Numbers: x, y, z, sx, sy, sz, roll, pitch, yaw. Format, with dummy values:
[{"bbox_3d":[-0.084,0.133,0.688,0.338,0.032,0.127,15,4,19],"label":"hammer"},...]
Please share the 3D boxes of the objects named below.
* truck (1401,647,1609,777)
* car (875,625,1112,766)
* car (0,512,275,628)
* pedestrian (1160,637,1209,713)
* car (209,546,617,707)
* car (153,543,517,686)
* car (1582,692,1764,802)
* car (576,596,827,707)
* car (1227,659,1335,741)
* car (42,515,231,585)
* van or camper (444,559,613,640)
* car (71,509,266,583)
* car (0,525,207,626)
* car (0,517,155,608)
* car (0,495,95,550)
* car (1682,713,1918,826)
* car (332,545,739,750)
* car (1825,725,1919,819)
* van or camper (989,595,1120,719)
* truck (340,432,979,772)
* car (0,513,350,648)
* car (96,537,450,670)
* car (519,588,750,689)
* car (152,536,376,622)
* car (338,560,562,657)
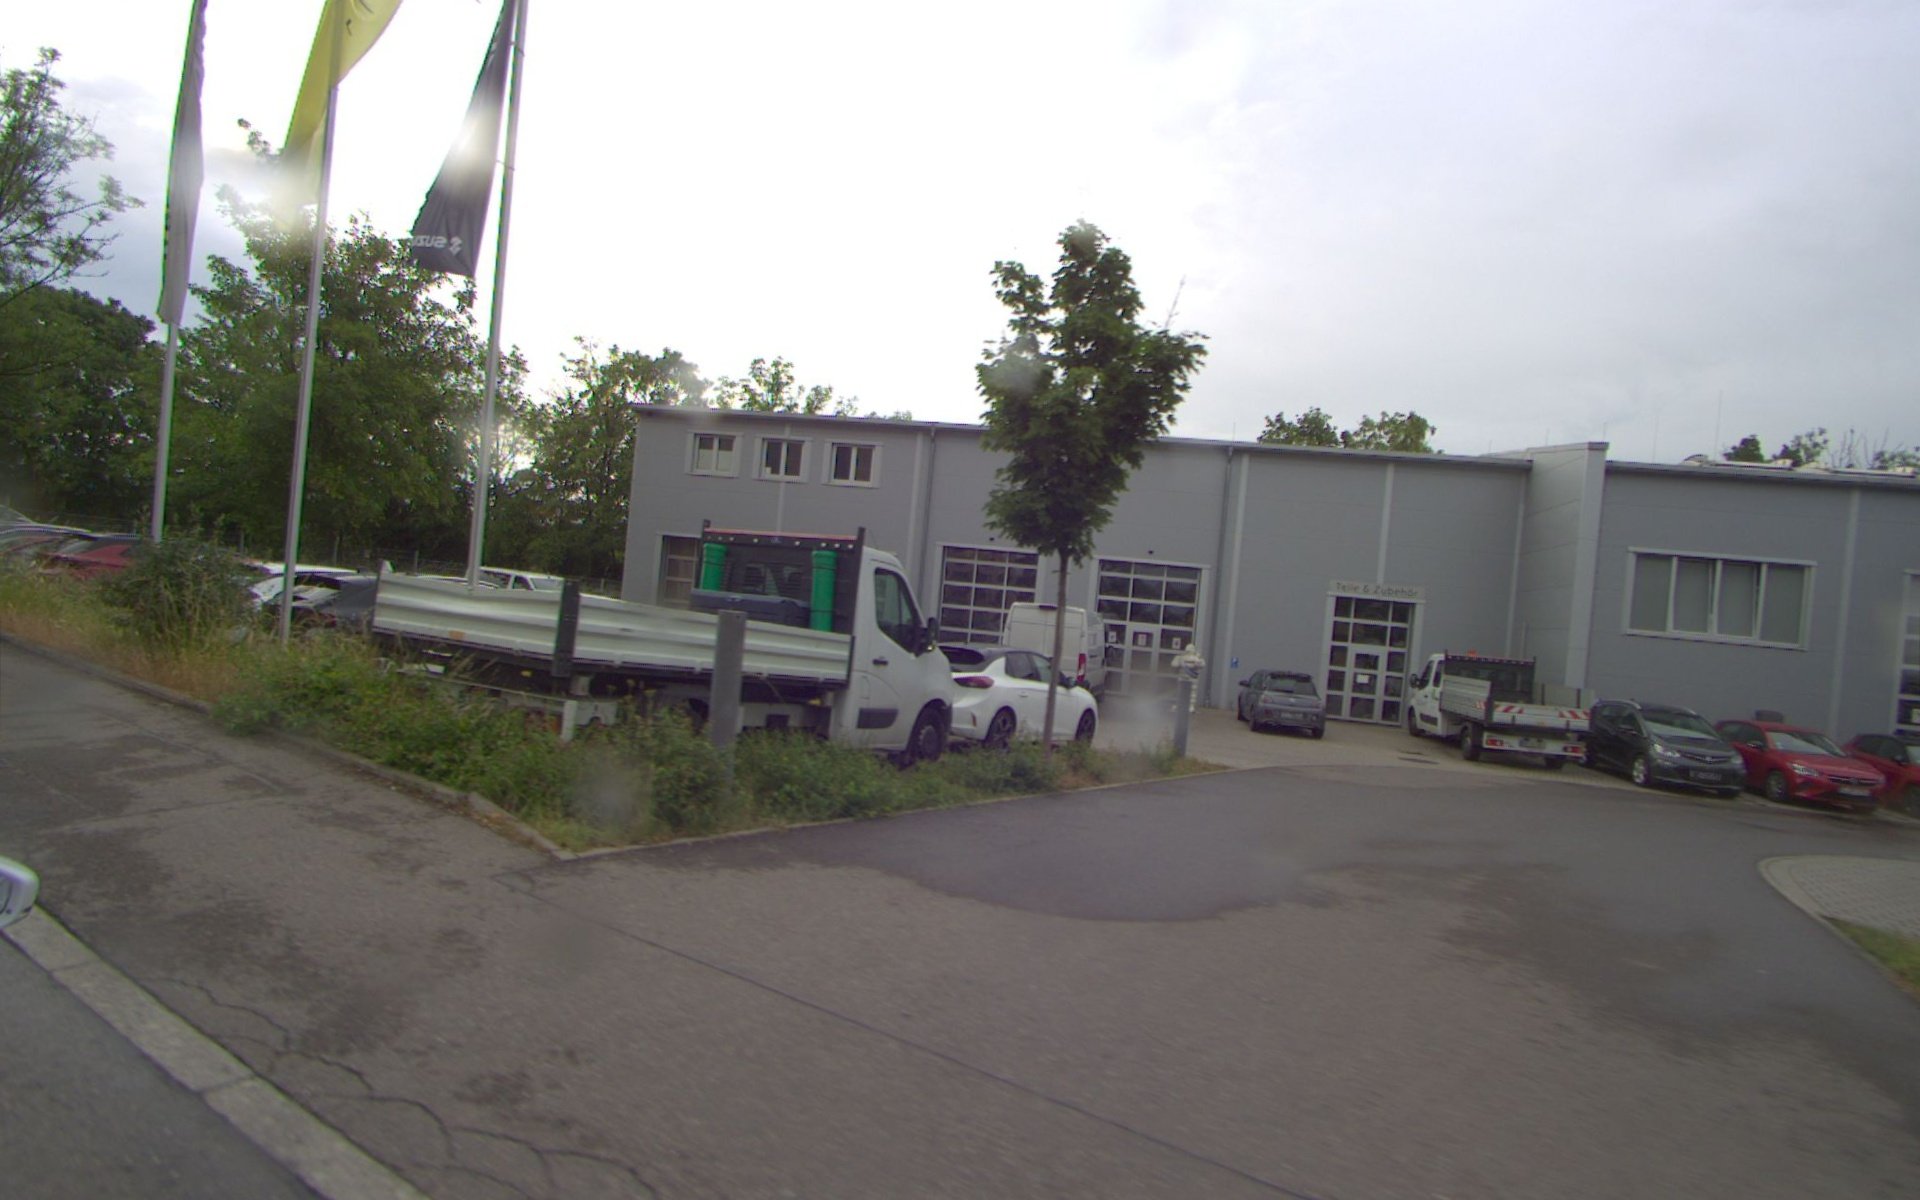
[{"bbox_3d":[12.368,2.399,23.466,2.322,2.265,6.275,3,0,11],"label":"truck"},{"bbox_3d":[0.605,1.316,14.059,1.532,1.537,3.696,7,-1,32],"label":"car"},{"bbox_3d":[-14.678,-0.495,17.577,1.773,1.540,3.993,7,-1,31],"label":"car"},{"bbox_3d":[6.041,2.002,27.069,1.002,1.904,0.696,7,0,8],"label":"pedestrian"},{"bbox_3d":[-6.396,0.389,12.232,1.884,1.471,3.869,7,-1,28],"label":"car"},{"bbox_3d":[-8.424,0.273,13.877,1.781,1.512,3.769,7,-1,33],"label":"car"},{"bbox_3d":[14.442,2.902,20.657,1.795,1.652,4.001,6,-1,18],"label":"car"},{"bbox_3d":[-4.056,0.895,16.314,1.604,1.435,3.694,7,-1,34],"label":"car"},{"bbox_3d":[7.957,2.429,25.273,1.790,1.570,3.905,7,-1,8],"label":"car"},{"bbox_3d":[-24.945,-1.474,30.635,1.772,1.540,3.997,7,-1,27],"label":"car"},{"bbox_3d":[-13.614,-0.038,31.599,5.523,1.810,1.996,7,-1,33],"label":"van or camper"},{"bbox_3d":[-22.985,-1.515,29.373,1.772,1.540,3.997,7,-1,27],"label":"car"},{"bbox_3d":[-16.946,-0.489,18.911,1.773,1.540,3.993,7,-1,31],"label":"car"},{"bbox_3d":[-18.961,-0.835,20.119,1.772,1.540,3.997,7,-1,27],"label":"car"},{"bbox_3d":[-30.009,-2.487,31.552,1.772,1.543,3.990,7,3,27],"label":"car"},{"bbox_3d":[16.800,3.318,20.418,1.794,1.526,4.003,6,-1,10],"label":"car"},{"bbox_3d":[-4.369,0.538,10.945,1.706,1.690,3.699,7,-1,28],"label":"car"},{"bbox_3d":[19.265,3.498,19.840,1.795,1.526,4.001,6,-1,18],"label":"car"},{"bbox_3d":[2.526,1.305,25.387,2.244,2.522,5.284,7,2,14],"label":"van or camper"},{"bbox_3d":[-2.163,0.129,9.019,2.305,2.037,5.159,8,-1,29],"label":"truck"},{"bbox_3d":[-12.568,-0.234,16.322,1.731,1.608,4.136,7,-1,32],"label":"car"},{"bbox_3d":[-10.230,0.135,15.299,1.731,1.526,3.994,7,-1,31],"label":"car"},{"bbox_3d":[-5.719,0.742,18.043,1.604,1.435,3.626,7,-1,34],"label":"car"},{"bbox_3d":[-16.664,-0.442,24.321,1.772,1.540,3.997,7,-1,27],"label":"car"},{"bbox_3d":[-10.250,0.232,20.468,1.532,1.537,3.696,7,-1,32],"label":"car"}]
